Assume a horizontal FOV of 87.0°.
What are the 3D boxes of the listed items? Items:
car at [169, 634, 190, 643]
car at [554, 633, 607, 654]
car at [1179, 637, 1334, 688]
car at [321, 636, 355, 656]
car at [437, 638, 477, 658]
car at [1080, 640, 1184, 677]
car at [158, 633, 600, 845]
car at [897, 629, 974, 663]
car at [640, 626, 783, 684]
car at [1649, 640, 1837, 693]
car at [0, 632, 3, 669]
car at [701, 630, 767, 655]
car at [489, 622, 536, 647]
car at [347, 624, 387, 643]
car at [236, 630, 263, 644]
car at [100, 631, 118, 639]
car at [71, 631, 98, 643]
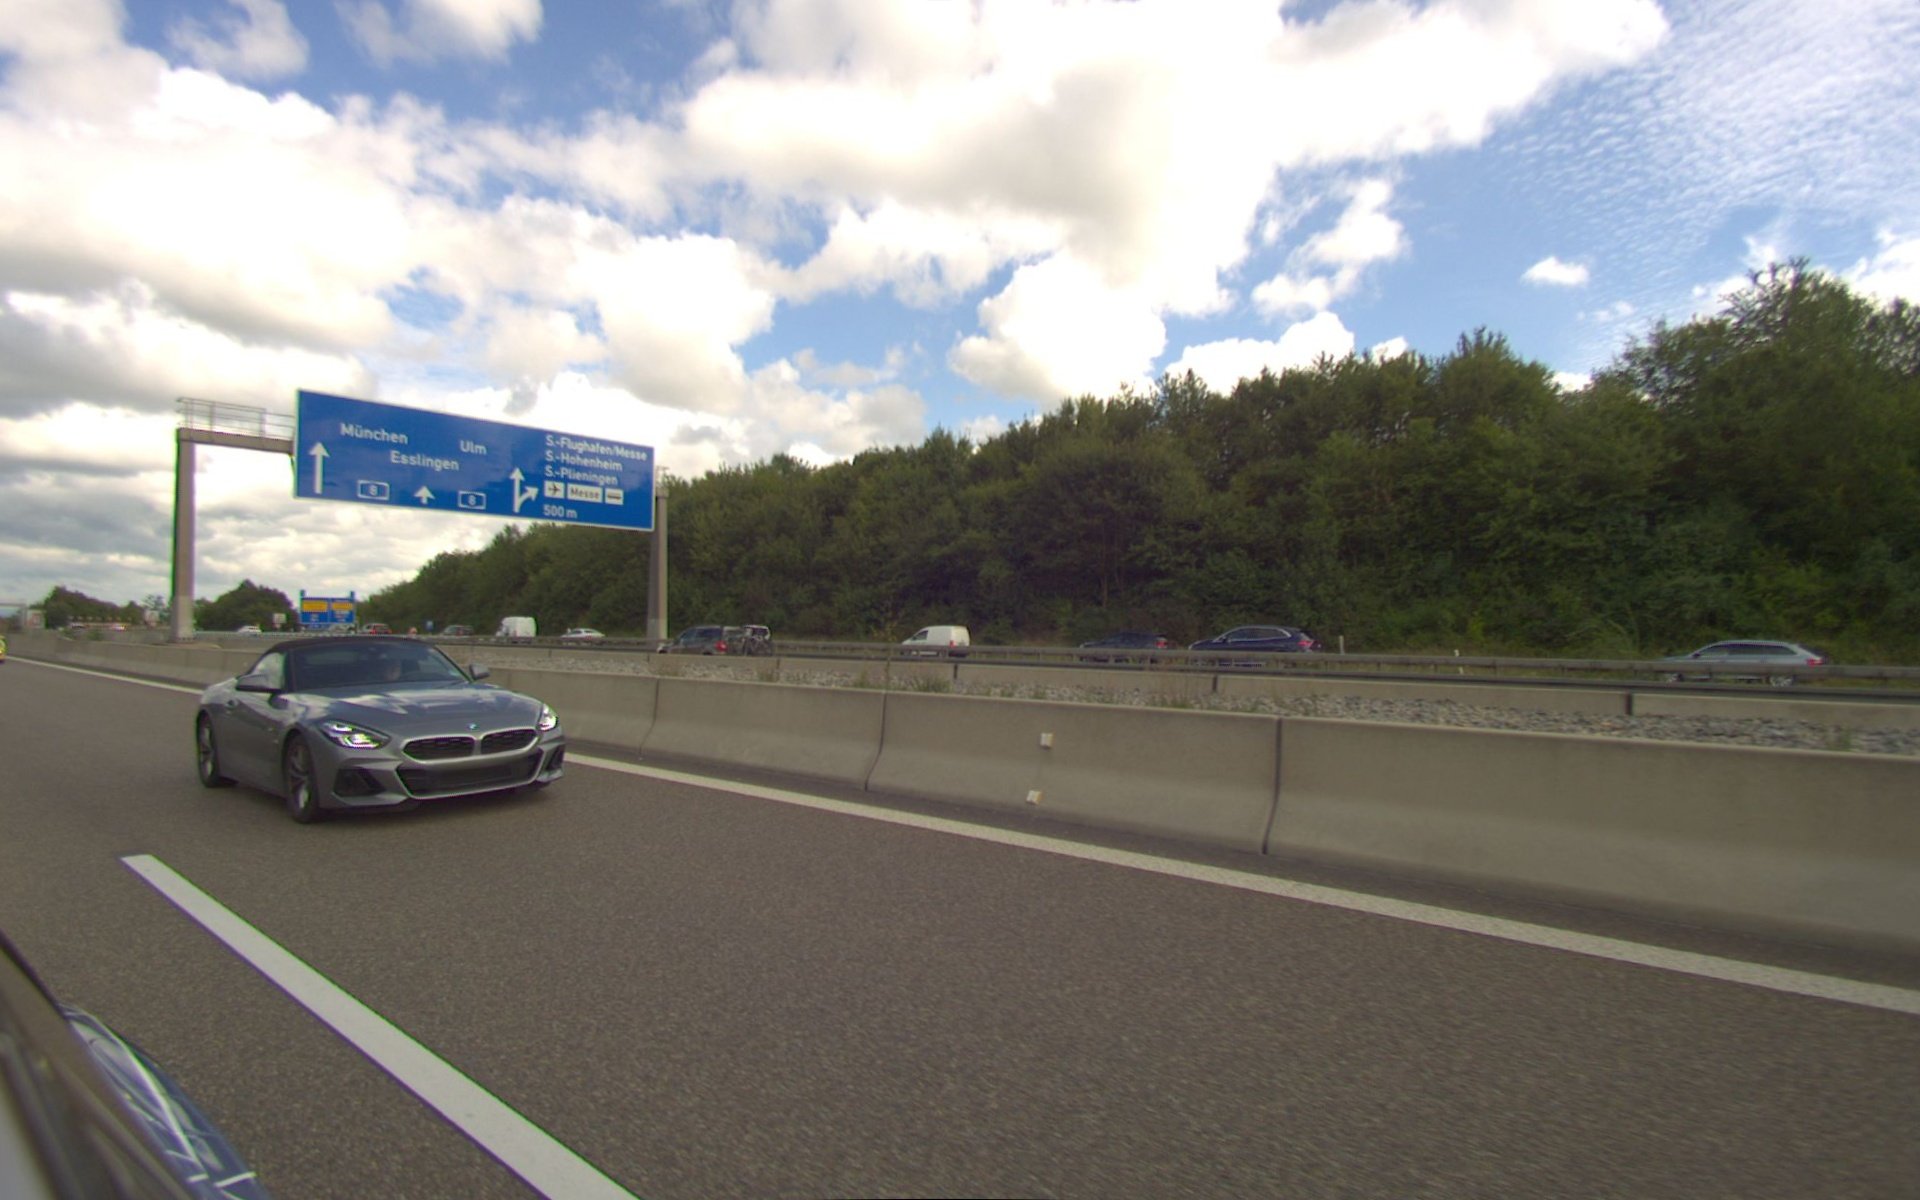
[{"bbox_3d":[-117.092,5.795,151.821,4.245,1.325,1.625,-2,-3,41],"label":"car"},{"bbox_3d":[-27.289,3.074,72.735,4.321,1.455,1.640,-1,-3,41],"label":"car"},{"bbox_3d":[10.176,2.108,34.978,4.766,1.605,1.972,-2,-2,42],"label":"car"},{"bbox_3d":[-66.653,4.901,108.417,4.342,2.029,1.973,-1,-1,41],"label":"car"},{"bbox_3d":[-43.748,4.188,87.978,3.997,1.660,1.640,-1,-3,41],"label":"car"},{"bbox_3d":[7.082,2.393,41.940,4.106,1.438,1.487,-1,-2,40],"label":"car"},{"bbox_3d":[-5.264,0.966,8.826,4.940,1.312,1.854,-1,-2,41],"label":"car"},{"bbox_3d":[-1.358,2.479,55.427,4.279,1.771,1.575,-1,-2,40],"label":"car"},{"bbox_3d":[-8.404,1.769,33.879,5.500,1.799,1.815,-1,-2,41],"label":"car"},{"bbox_3d":[24.317,2.016,31.564,4.506,1.506,1.575,-1,-2,40],"label":"car"},{"bbox_3d":[-36.352,1.806,36.825,4.245,1.325,1.788,-1,-4,41],"label":"car"},{"bbox_3d":[-15.142,2.807,67.744,4.944,1.646,1.717,-1,-3,41],"label":"car"},{"bbox_3d":[-41.963,3.214,94.794,5.684,2.333,1.972,-2,-3,43],"label":"car"},{"bbox_3d":[-53.229,3.002,90.795,4.424,1.742,1.832,-2,-3,41],"label":"car"},{"bbox_3d":[-83.316,4.331,118.683,4.368,1.529,1.658,-2,-3,43],"label":"car"},{"bbox_3d":[-142.249,5.769,169.130,4.245,1.325,1.625,-2,-3,41],"label":"car"},{"bbox_3d":[-98.001,4.163,113.271,4.245,1.325,1.625,-2,-3,41],"label":"car"}]
